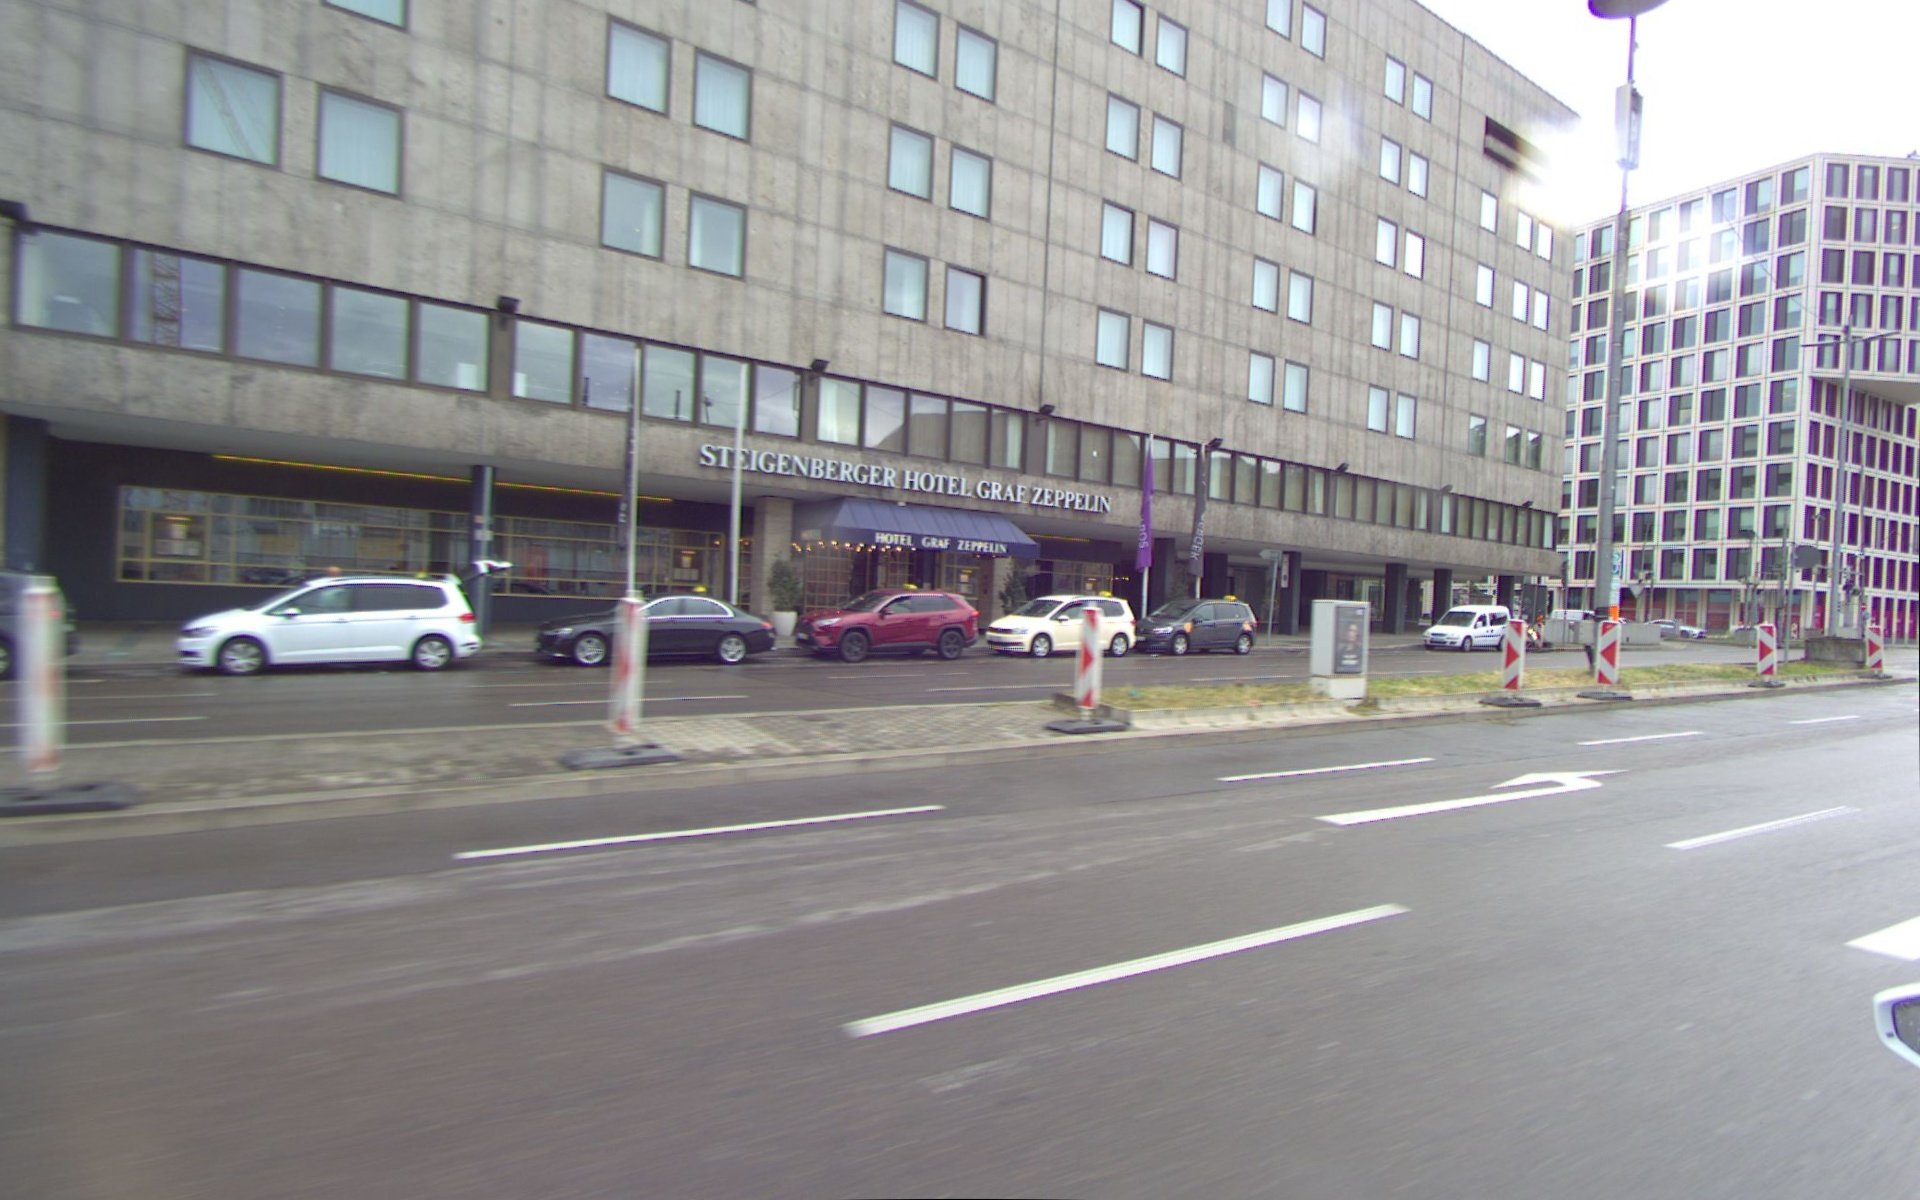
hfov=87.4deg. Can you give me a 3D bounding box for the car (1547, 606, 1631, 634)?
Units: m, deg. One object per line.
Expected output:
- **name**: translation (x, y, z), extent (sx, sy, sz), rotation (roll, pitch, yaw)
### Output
- **car**: translation (46.706, 1.469, 74.709), extent (2.058, 1.930, 5.055), rotation (1, 0, -24)

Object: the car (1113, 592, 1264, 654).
- **car**: translation (6.928, 0.704, 30.320), extent (4.465, 1.751, 1.806), rotation (2, 0, -33)

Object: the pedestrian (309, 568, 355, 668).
- **pedestrian**: translation (-11.692, 0.329, 18.698), extent (0.651, 1.805, 0.617), rotation (2, 2, -34)

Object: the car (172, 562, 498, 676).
- **car**: translation (-10.886, 0.346, 17.770), extent (4.665, 1.781, 1.742), rotation (2, 0, -36)

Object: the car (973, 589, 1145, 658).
- **car**: translation (2.730, 0.636, 27.286), extent (4.531, 1.720, 1.804), rotation (2, 0, -35)

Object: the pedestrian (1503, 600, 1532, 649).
- **pedestrian**: translation (21.854, 0.951, 39.368), extent (0.788, 1.911, 0.686), rotation (1, 1, -35)

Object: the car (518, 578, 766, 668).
- **car**: translation (-6.564, 0.453, 20.907), extent (4.569, 1.682, 1.890), rotation (1, 1, -35)

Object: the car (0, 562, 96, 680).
- **car**: translation (-15.412, 0.271, 14.535), extent (4.183, 1.704, 1.744), rotation (1, 0, -33)

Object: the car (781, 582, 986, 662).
- **car**: translation (-1.817, 0.528, 24.370), extent (4.596, 1.791, 1.891), rotation (2, 0, -33)

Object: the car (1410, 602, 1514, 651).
- **car**: translation (19.711, 1.020, 39.399), extent (4.327, 1.786, 1.762), rotation (1, 0, -35)

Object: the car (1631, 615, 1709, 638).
- **car**: translation (55.337, 2.021, 78.400), extent (1.989, 1.620, 4.639), rotation (1, 0, -22)
